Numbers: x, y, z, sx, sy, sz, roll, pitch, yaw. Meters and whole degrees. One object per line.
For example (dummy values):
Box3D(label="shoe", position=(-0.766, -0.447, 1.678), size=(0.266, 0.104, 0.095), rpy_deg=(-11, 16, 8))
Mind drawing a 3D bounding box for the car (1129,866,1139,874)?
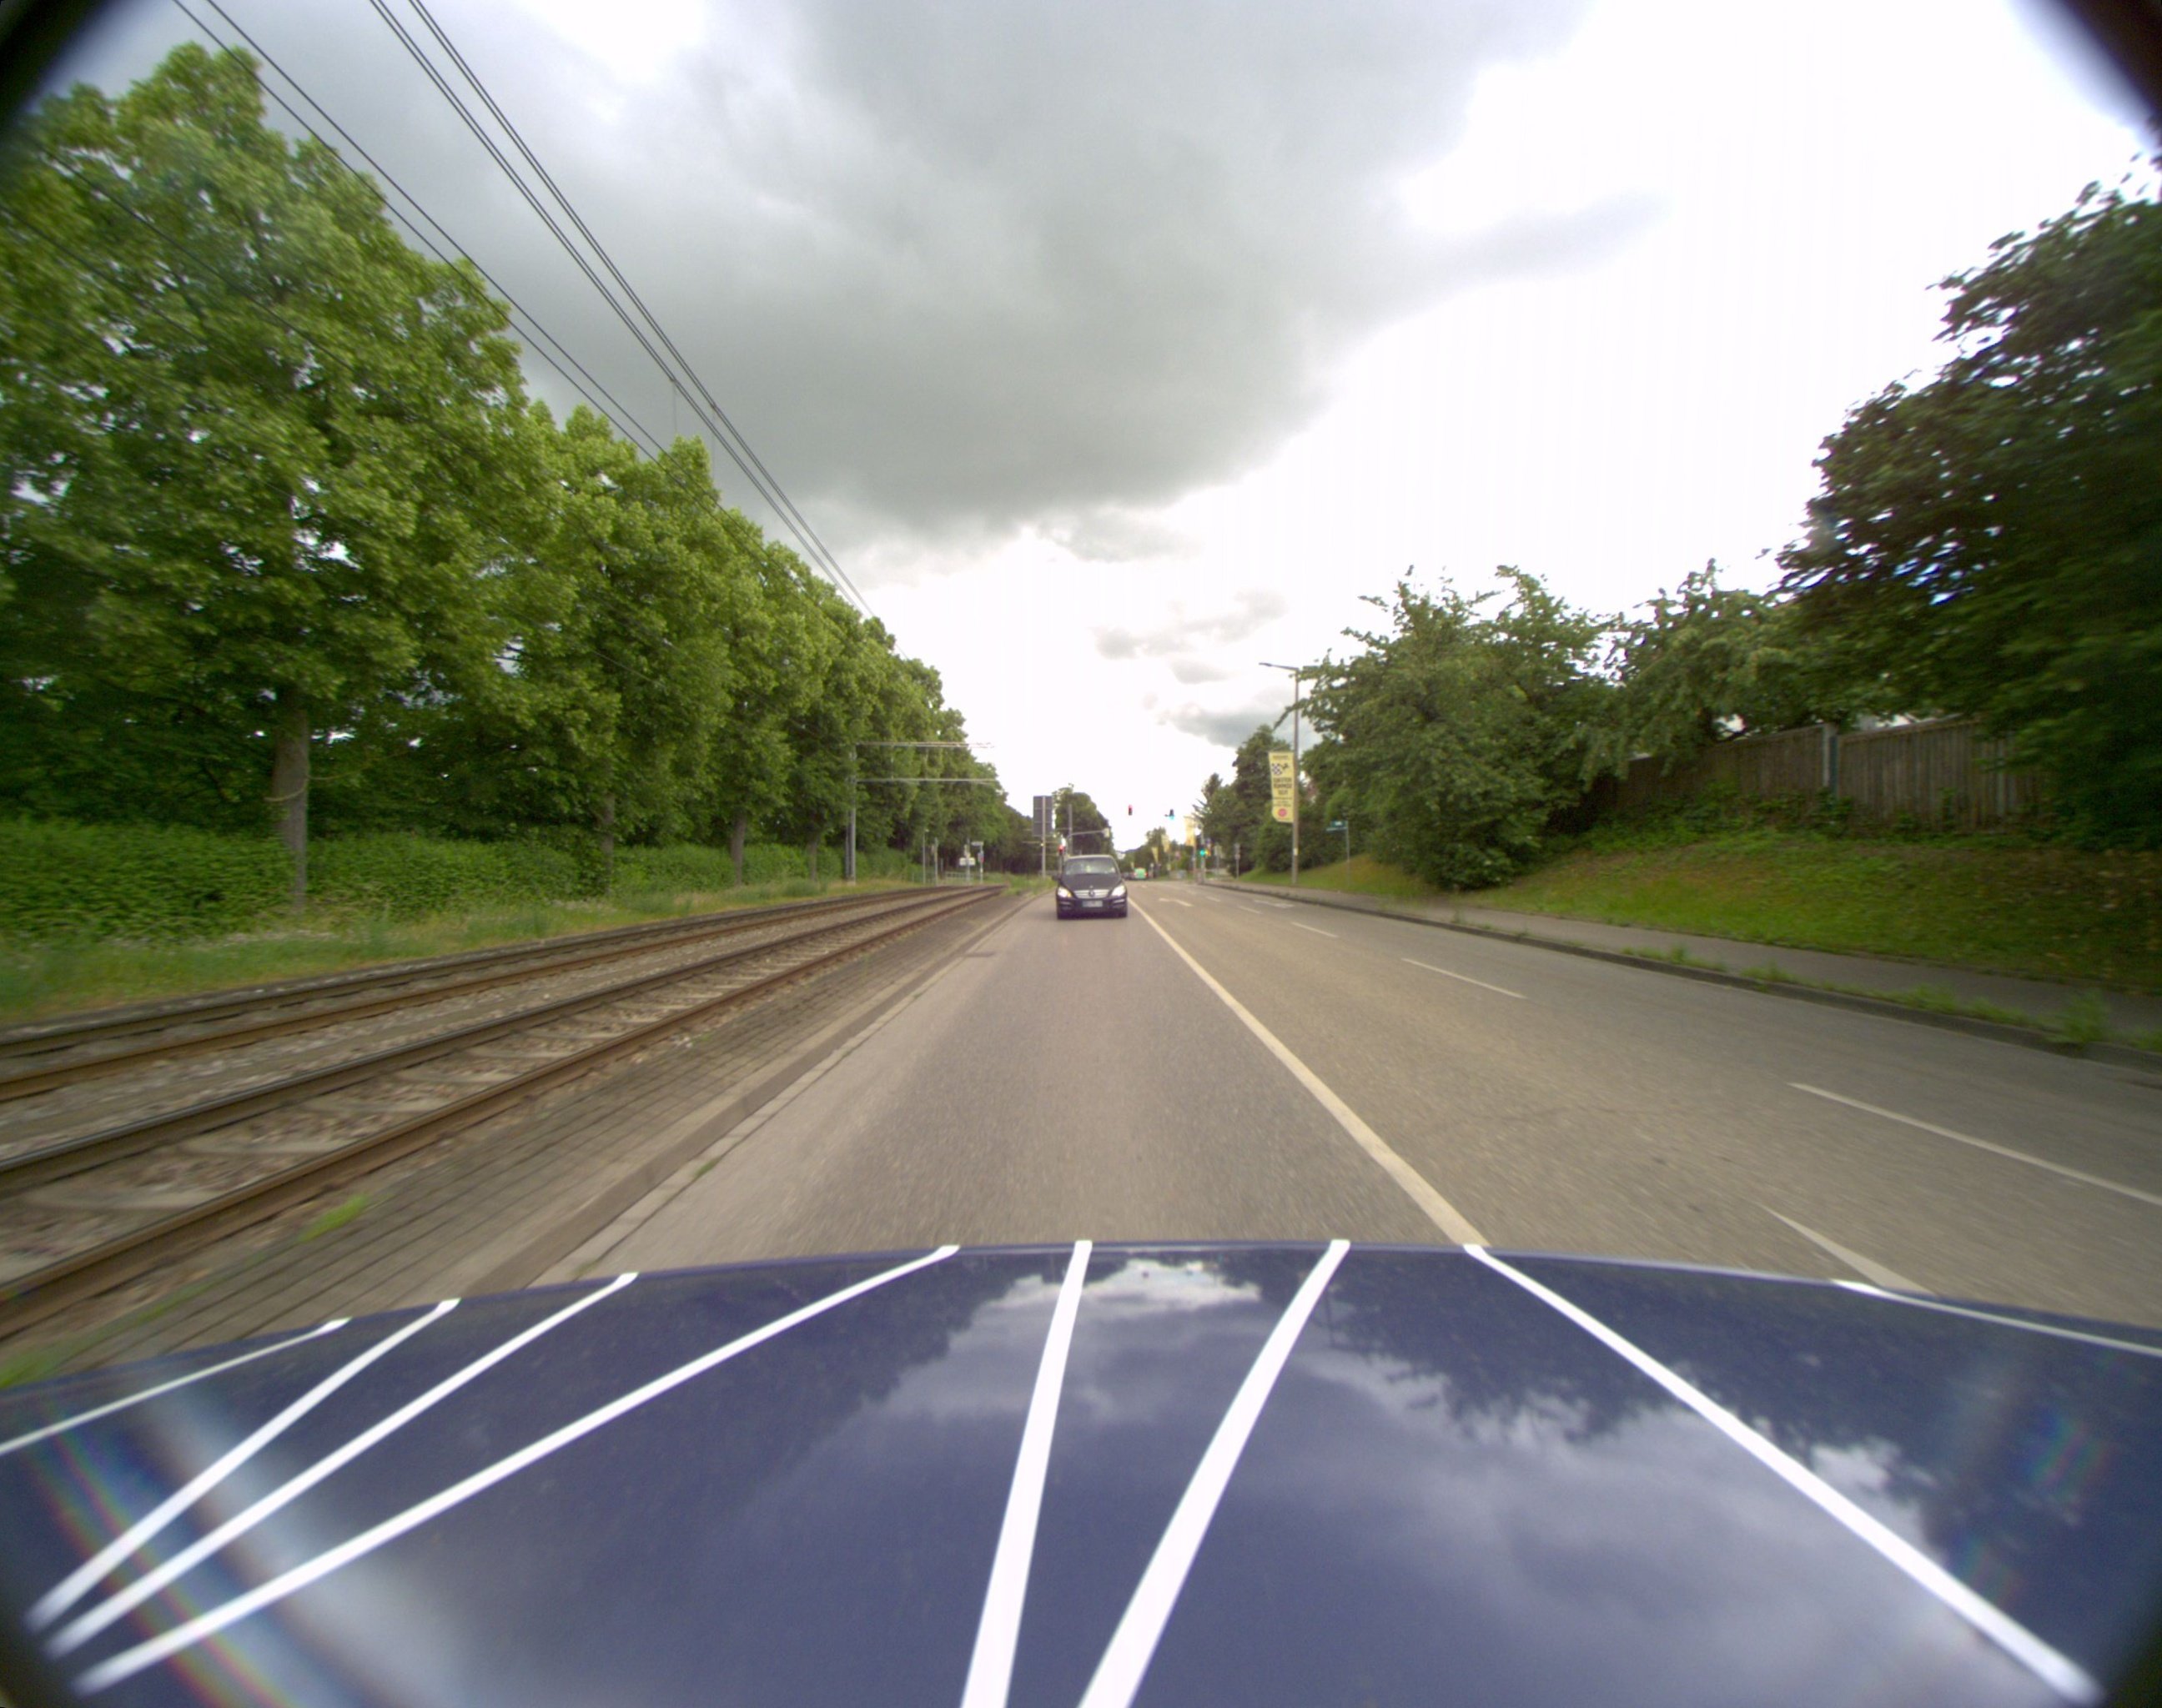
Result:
Box3D(label="car", position=(11.151, 3.331, 160.457), size=(1.903, 1.570, 4.279), rpy_deg=(1, 1, 3))

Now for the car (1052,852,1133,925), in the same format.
Box3D(label="car", position=(0.268, 0.786, 19.046), size=(1.749, 1.558, 4.121), rpy_deg=(-2, 0, 0))

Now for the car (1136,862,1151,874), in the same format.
Box3D(label="car", position=(9.623, 2.192, 117.471), size=(2.063, 1.799, 4.730), rpy_deg=(1, -1, 2))
